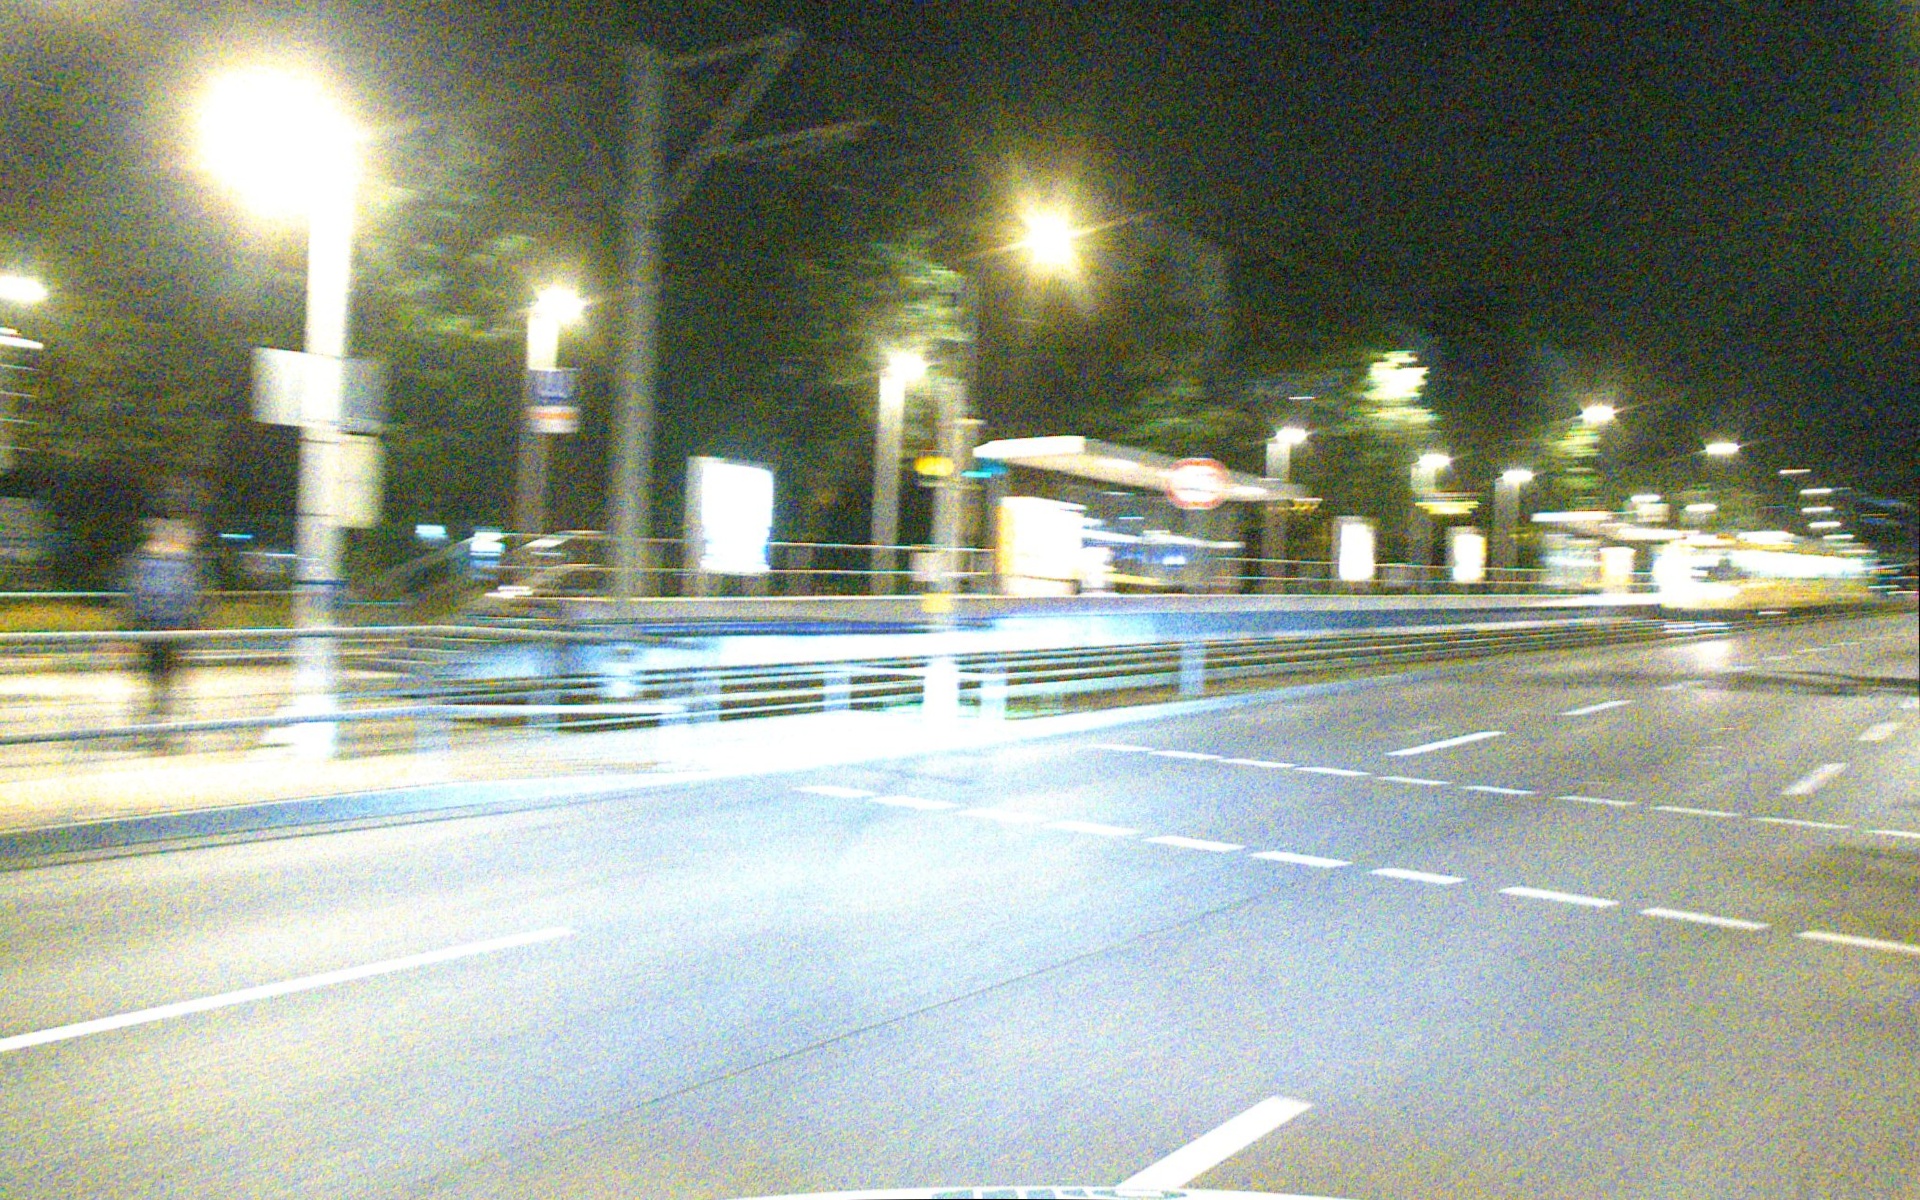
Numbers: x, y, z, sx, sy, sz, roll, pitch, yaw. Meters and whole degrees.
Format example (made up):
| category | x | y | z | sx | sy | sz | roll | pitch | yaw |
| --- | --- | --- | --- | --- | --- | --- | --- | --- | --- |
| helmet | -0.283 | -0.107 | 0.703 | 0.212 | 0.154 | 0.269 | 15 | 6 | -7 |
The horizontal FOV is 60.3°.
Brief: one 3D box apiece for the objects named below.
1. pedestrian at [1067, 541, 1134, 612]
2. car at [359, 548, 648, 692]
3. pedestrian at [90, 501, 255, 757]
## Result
| category | x | y | z | sx | sy | sz | roll | pitch | yaw |
| --- | --- | --- | --- | --- | --- | --- | --- | --- | --- |
| pedestrian | 3.046 | -0.502 | 35.913 | 1.124 | 1.526 | 1.072 | 0 | 0 | -17 |
| car | -7.082 | 0.241 | 25.964 | 1.961 | 2.048 | 3.983 | 0 | 2 | 37 |
| pedestrian | -5.711 | 0.178 | 12.010 | 0.816 | 1.774 | 0.755 | 2 | 3 | 32 |
